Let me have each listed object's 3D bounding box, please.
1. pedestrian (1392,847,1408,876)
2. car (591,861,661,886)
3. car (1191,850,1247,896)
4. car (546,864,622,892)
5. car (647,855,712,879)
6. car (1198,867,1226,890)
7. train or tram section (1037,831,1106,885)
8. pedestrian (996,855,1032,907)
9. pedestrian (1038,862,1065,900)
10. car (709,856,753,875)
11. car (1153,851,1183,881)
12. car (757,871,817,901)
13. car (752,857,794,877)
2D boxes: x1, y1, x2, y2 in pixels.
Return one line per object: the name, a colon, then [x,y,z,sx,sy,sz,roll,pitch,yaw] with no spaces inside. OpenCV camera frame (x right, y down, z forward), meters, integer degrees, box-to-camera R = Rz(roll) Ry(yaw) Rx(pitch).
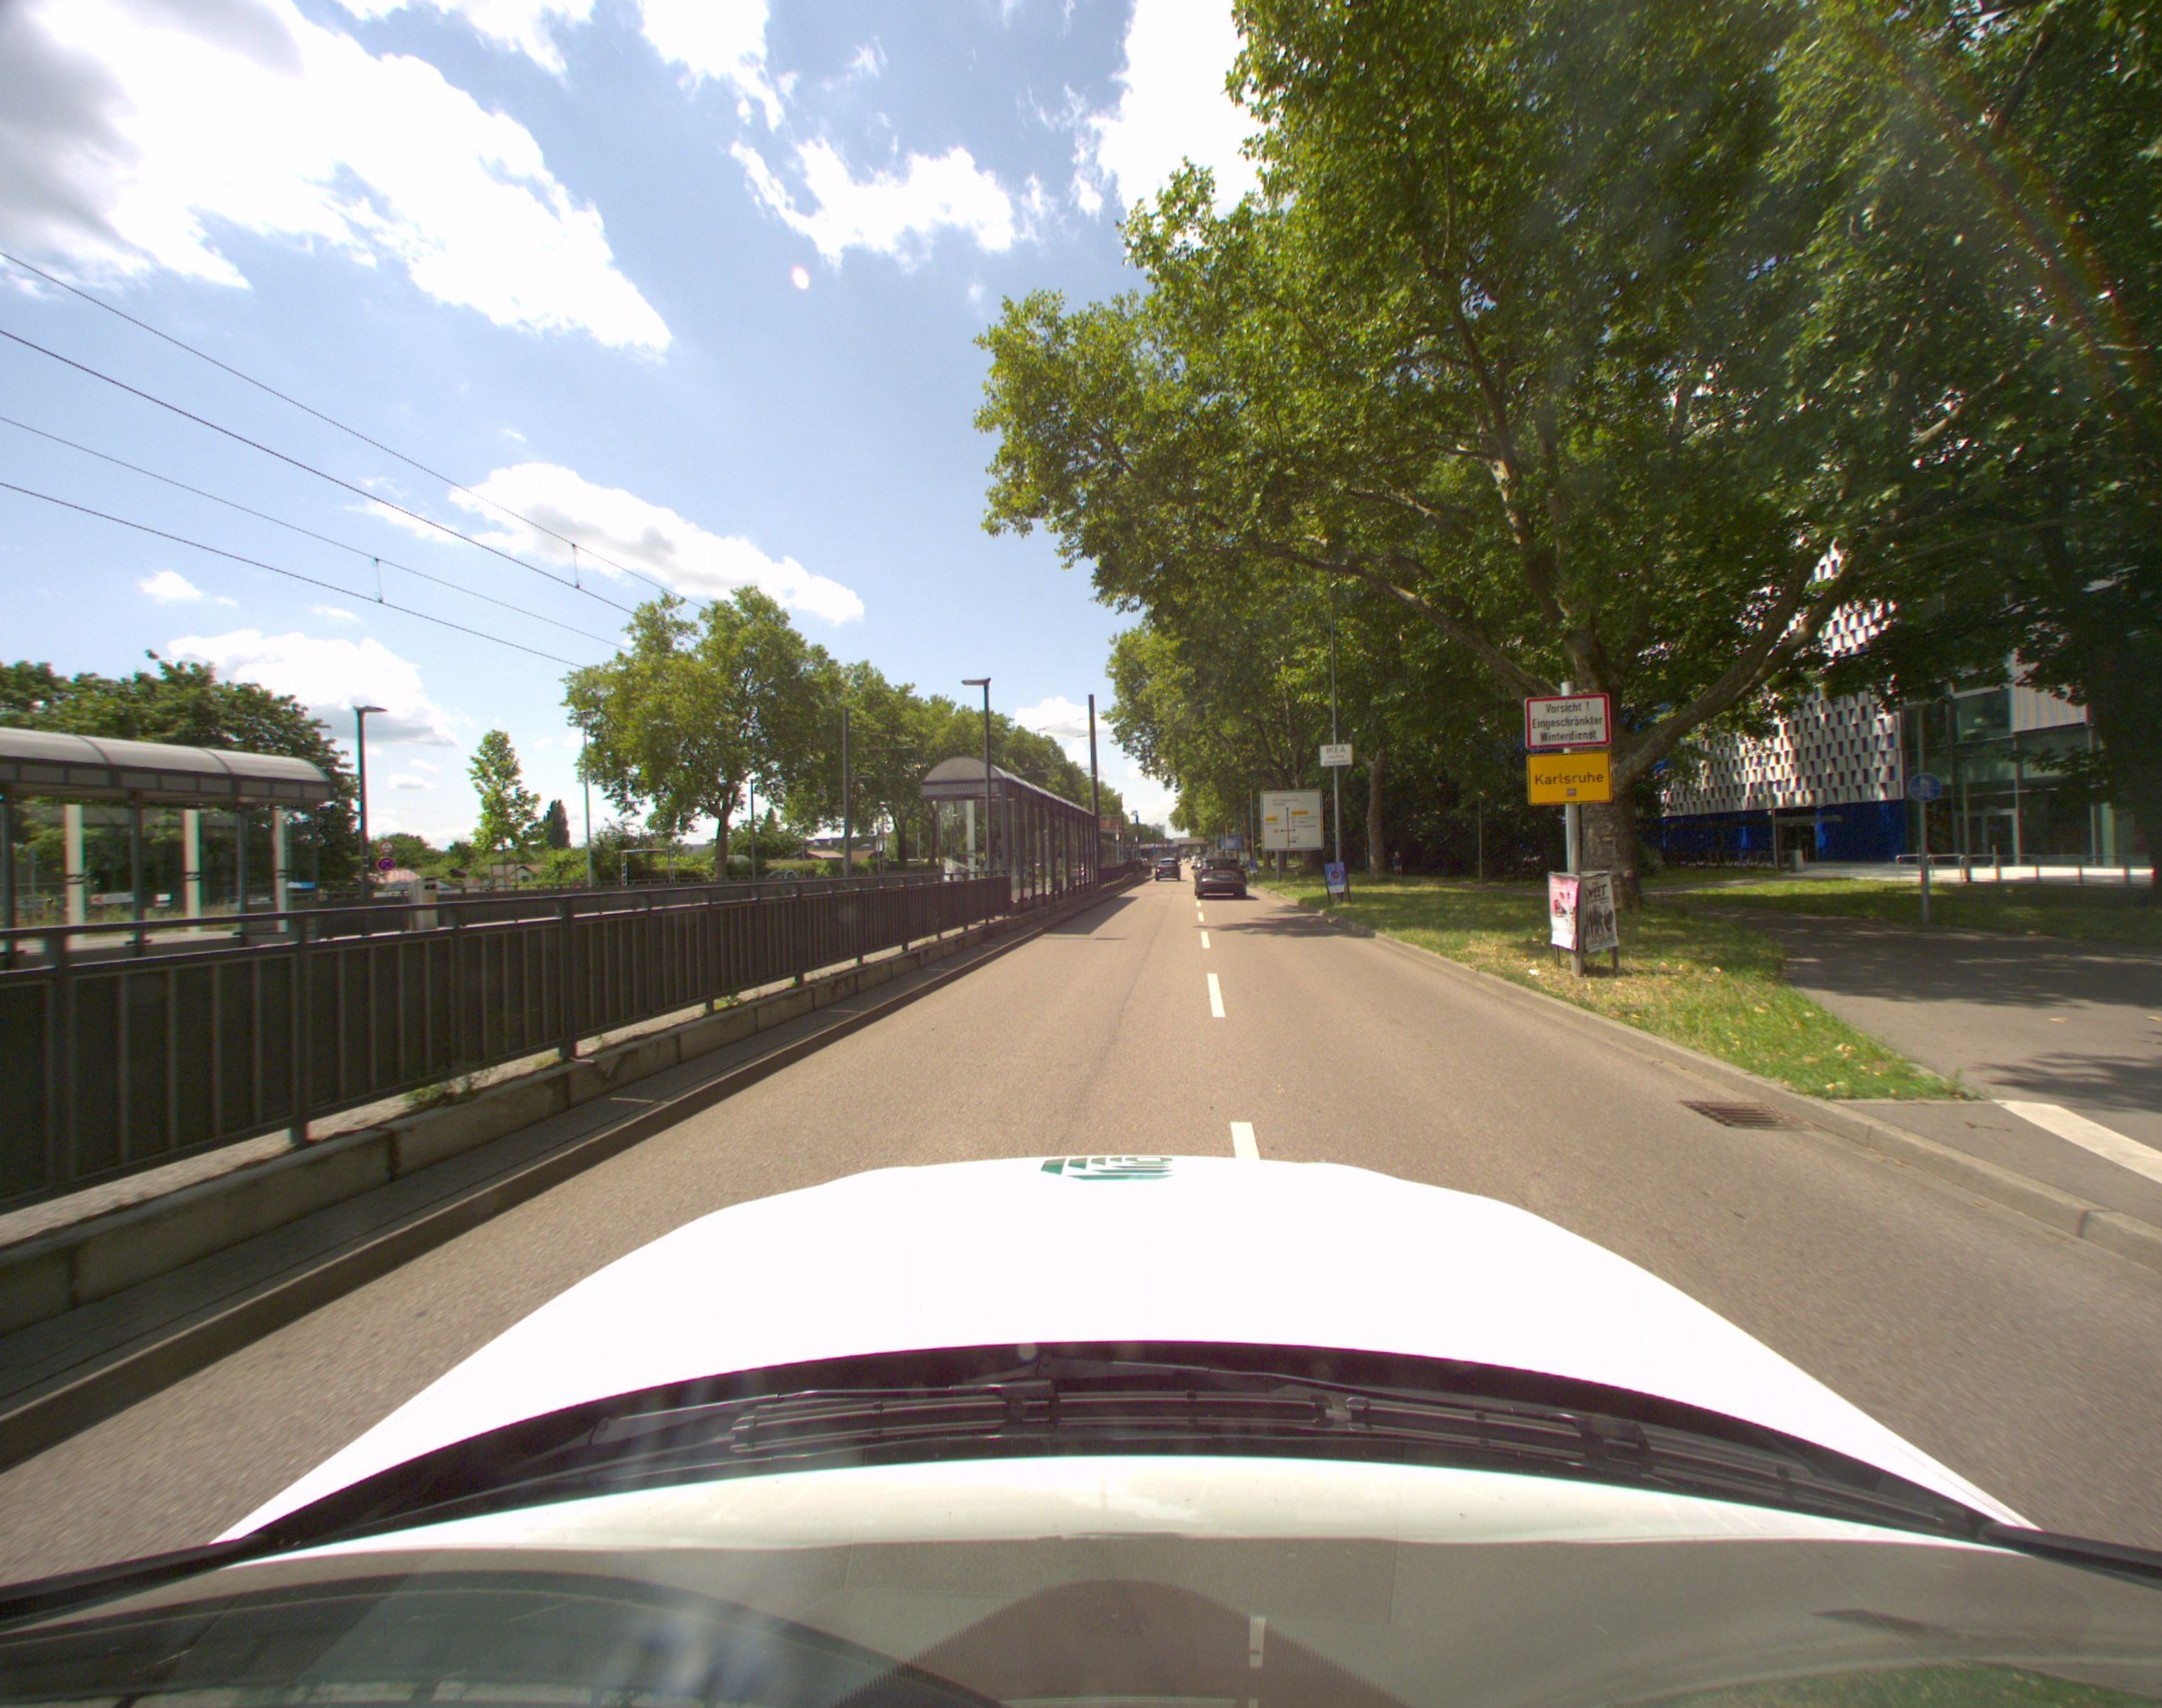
pedestrian: [22.038,0.499,56.297,0.832,2.014,0.958,0,-1,6]
car: [-32.226,1.353,57.714,3.892,1.662,1.915,-1,0,9]
car: [5.365,0.742,32.059,1.888,1.675,4.527,-1,-1,6]
car: [-32.194,1.550,52.803,3.891,1.662,1.915,-1,0,9]
car: [-29.763,0.982,60.438,3.892,1.662,1.915,-1,0,9]
car: [9.817,1.852,61.365,1.822,1.630,4.303,-1,-1,6]
train or tram section: [-0.362,0.316,56.593,3.022,3.186,14.124,-2,-1,6]
pedestrian: [-1.556,0.620,19.006,0.689,1.190,0.643,0,-1,8]
pedestrian: [-0.954,0.890,26.815,0.782,1.209,0.700,-2,-1,4]
car: [-31.811,1.032,74.181,1.894,1.662,3.935,-1,1,7]
car: [6.287,0.839,58.639,1.982,1.989,4.373,1,1,8]
car: [-17.611,1.877,48.904,1.699,1.585,4.009,-1,1,7]
car: [-27.623,1.108,73.185,1.894,1.662,3.935,-1,1,7]
